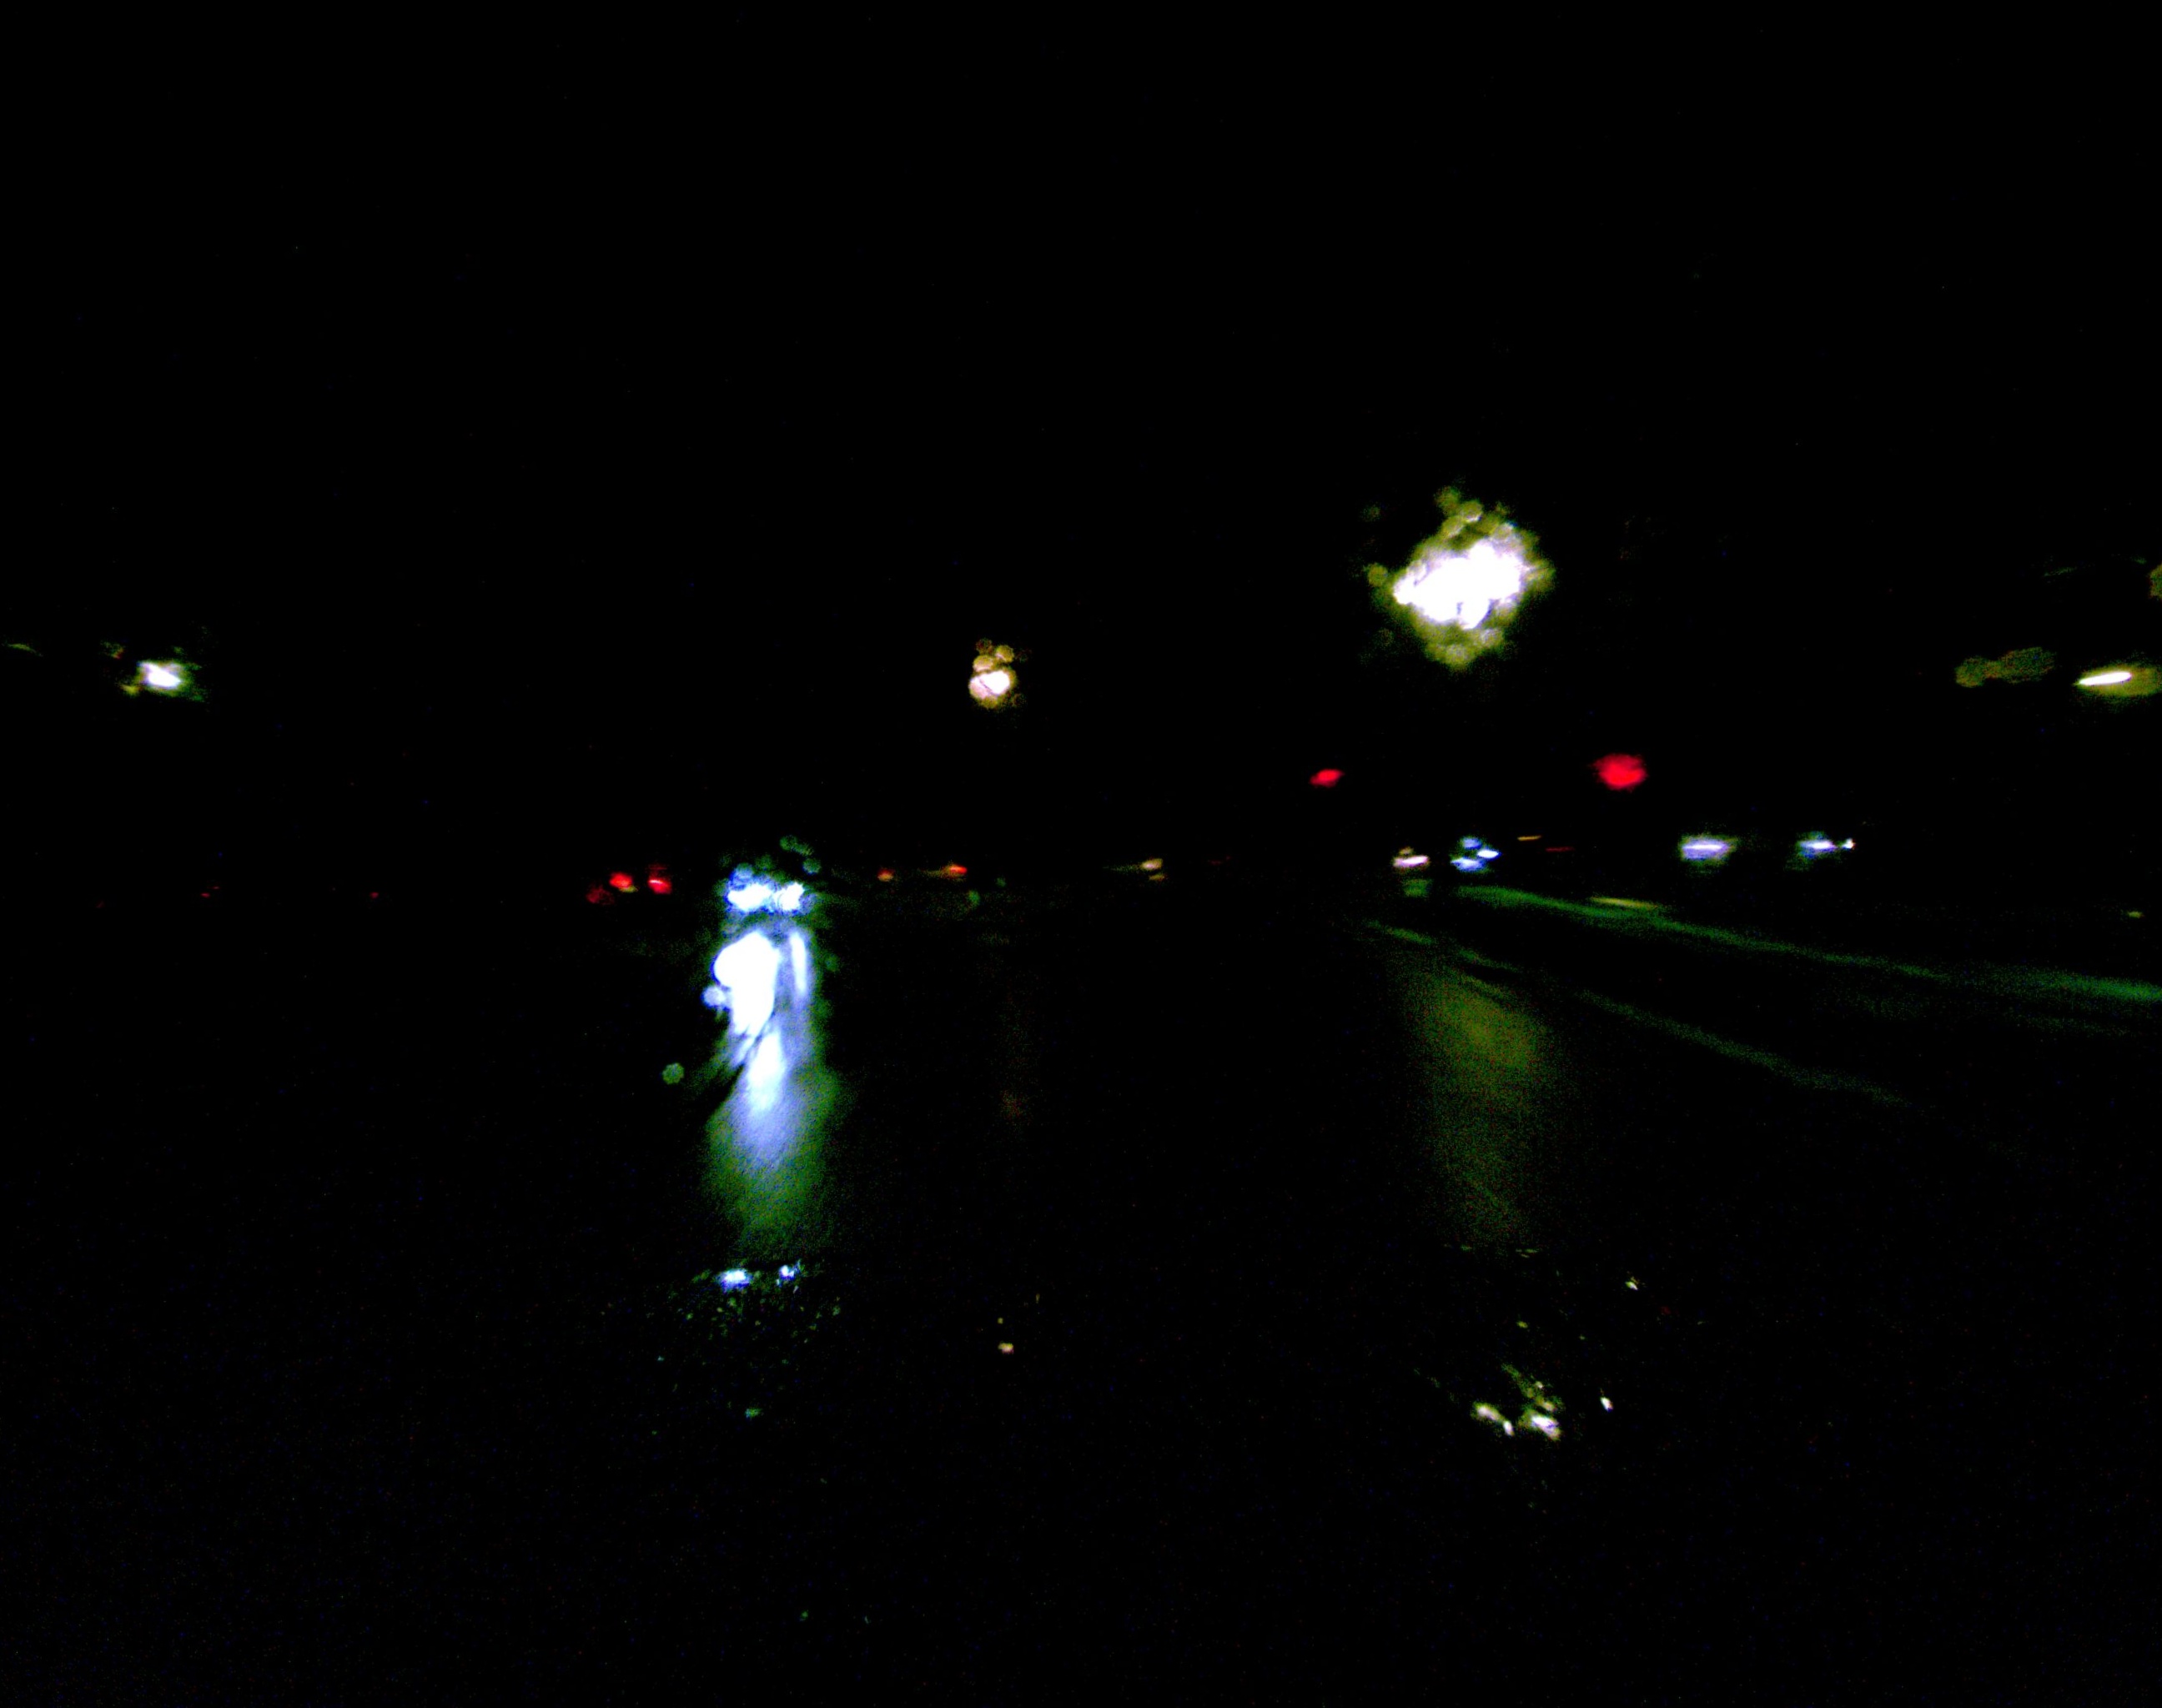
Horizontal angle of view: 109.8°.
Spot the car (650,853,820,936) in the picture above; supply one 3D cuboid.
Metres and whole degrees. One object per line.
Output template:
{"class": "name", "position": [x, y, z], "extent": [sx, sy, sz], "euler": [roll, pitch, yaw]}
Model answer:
{"class": "car", "position": [-9.268, 1.042, 20.288], "extent": [4.357, 1.914, 2.008], "euler": [-2, 1, 33]}

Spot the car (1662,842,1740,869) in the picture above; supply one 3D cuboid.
{"class": "car", "position": [39.290, 0.070, 48.175], "extent": [3.792, 1.533, 1.755], "euler": [-2, 0, -11]}

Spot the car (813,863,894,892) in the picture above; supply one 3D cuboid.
{"class": "car", "position": [-12.764, 1.303, 42.838], "extent": [4.096, 1.448, 1.853], "euler": [-2, 0, -8]}

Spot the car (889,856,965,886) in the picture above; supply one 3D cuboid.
{"class": "car", "position": [-8.193, 0.901, 40.611], "extent": [3.819, 1.440, 1.669], "euler": [-2, 0, -8]}

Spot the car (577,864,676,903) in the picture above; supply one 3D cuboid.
{"class": "car", "position": [-24.707, 1.572, 41.435], "extent": [4.205, 1.881, 1.766], "euler": [-2, 0, -8]}

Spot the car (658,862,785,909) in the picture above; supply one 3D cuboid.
{"class": "car", "position": [-14.184, 1.213, 30.189], "extent": [4.135, 1.639, 1.831], "euler": [-2, 0, -6]}

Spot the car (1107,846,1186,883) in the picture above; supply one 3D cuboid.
{"class": "car", "position": [3.877, 0.603, 45.539], "extent": [4.352, 2.005, 1.894], "euler": [-2, 0, -6]}

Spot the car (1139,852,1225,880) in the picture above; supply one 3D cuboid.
{"class": "car", "position": [5.595, 0.645, 42.331], "extent": [4.454, 1.351, 1.650], "euler": [-2, 0, -7]}

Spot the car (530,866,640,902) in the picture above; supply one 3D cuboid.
{"class": "car", "position": [-24.829, 1.469, 38.181], "extent": [4.244, 1.599, 1.786], "euler": [-2, 0, -11]}

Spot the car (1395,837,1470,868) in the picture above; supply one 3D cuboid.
{"class": "car", "position": [22.535, -0.066, 48.746], "extent": [4.014, 1.829, 1.754], "euler": [-2, 0, -7]}

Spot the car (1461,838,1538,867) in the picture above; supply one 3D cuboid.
{"class": "car", "position": [22.723, -0.066, 41.326], "extent": [3.350, 1.419, 1.594], "euler": [-2, 0, -7]}

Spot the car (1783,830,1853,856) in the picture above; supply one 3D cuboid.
{"class": "car", "position": [50.571, -0.763, 52.148], "extent": [3.792, 1.664, 1.610], "euler": [-2, 0, -12]}
